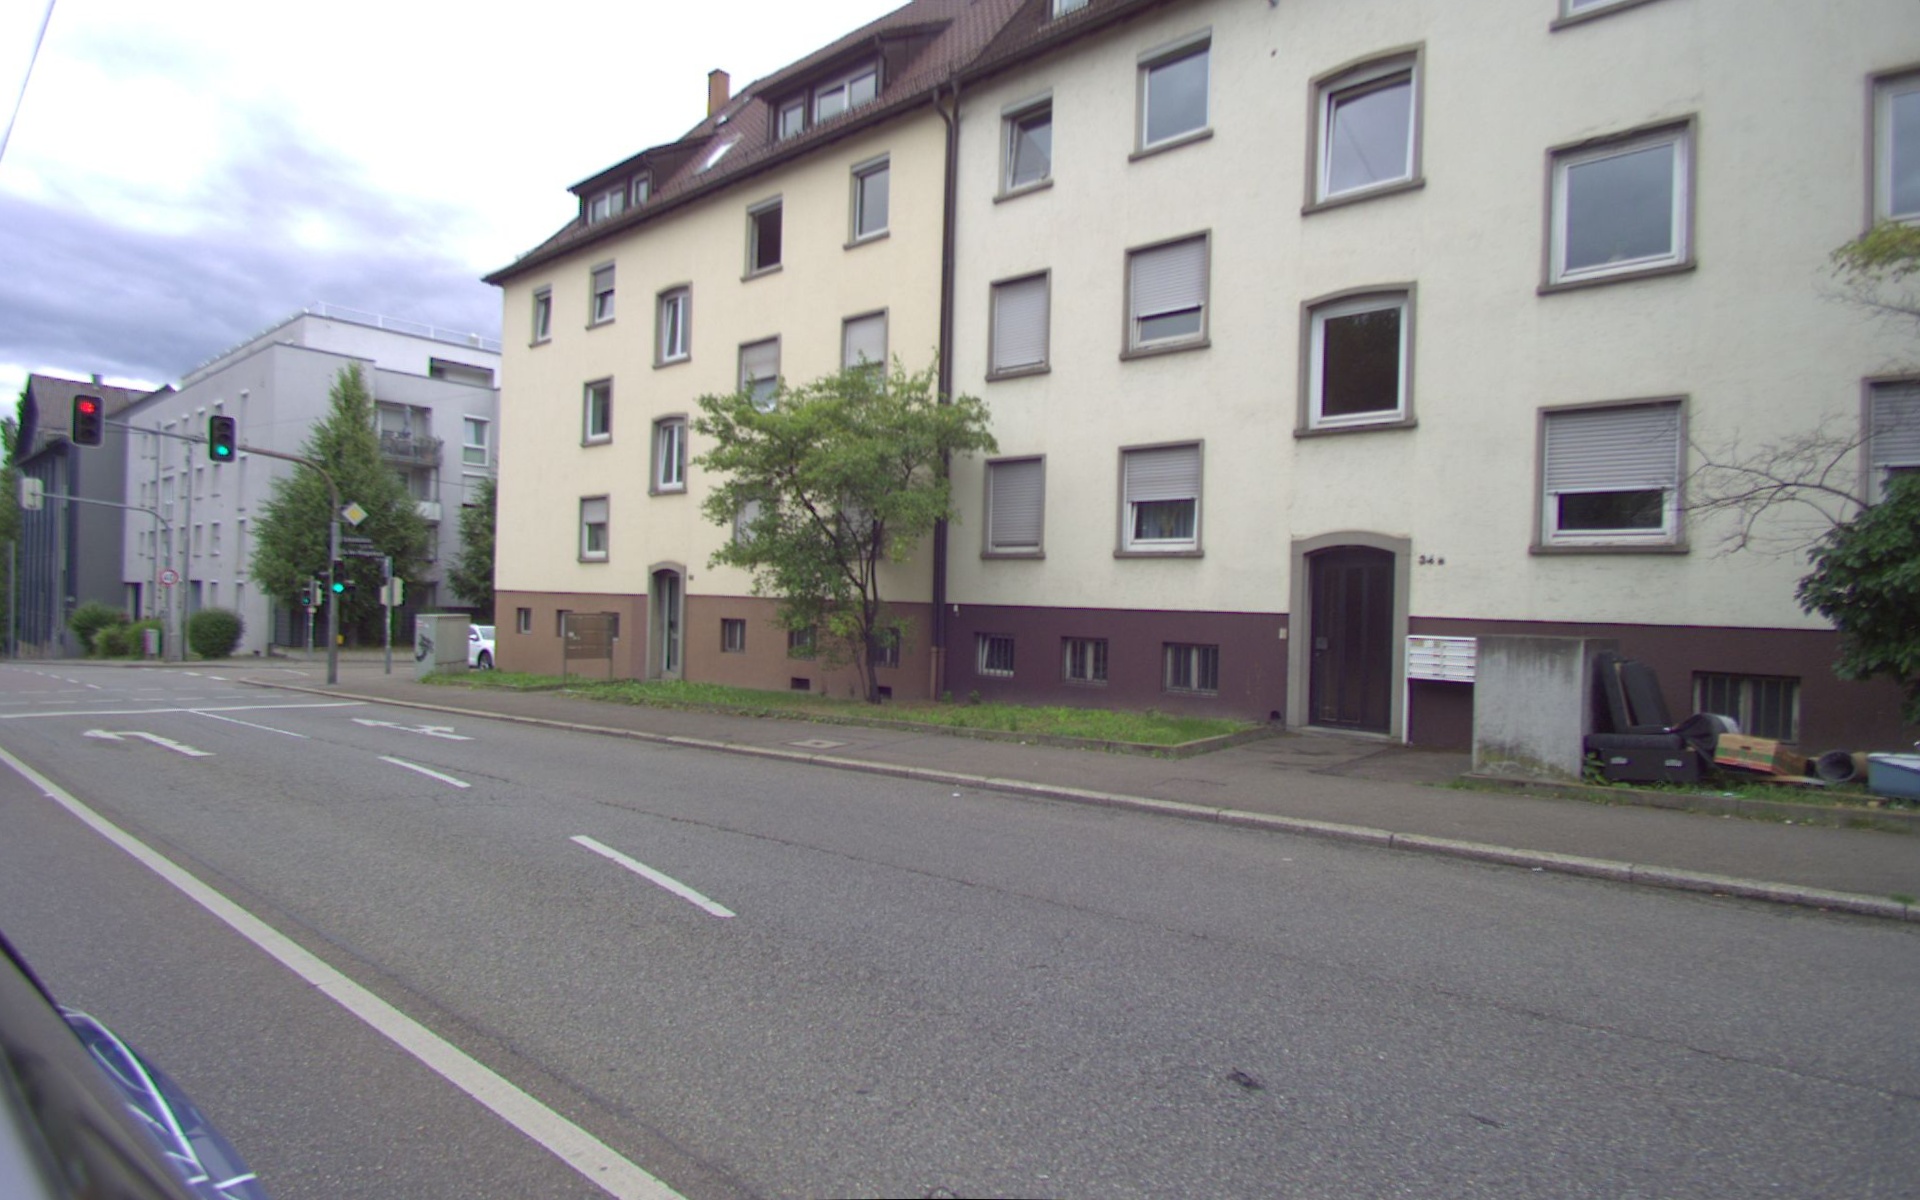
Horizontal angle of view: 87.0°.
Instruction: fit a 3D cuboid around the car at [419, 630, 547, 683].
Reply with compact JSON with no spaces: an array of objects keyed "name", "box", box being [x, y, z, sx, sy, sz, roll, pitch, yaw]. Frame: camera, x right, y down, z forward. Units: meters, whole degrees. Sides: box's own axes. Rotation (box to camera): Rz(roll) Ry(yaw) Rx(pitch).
[{"name":"car","box":[-14.890,1.785,31.513,4.252,1.549,1.797,-3,-5,37]}]
